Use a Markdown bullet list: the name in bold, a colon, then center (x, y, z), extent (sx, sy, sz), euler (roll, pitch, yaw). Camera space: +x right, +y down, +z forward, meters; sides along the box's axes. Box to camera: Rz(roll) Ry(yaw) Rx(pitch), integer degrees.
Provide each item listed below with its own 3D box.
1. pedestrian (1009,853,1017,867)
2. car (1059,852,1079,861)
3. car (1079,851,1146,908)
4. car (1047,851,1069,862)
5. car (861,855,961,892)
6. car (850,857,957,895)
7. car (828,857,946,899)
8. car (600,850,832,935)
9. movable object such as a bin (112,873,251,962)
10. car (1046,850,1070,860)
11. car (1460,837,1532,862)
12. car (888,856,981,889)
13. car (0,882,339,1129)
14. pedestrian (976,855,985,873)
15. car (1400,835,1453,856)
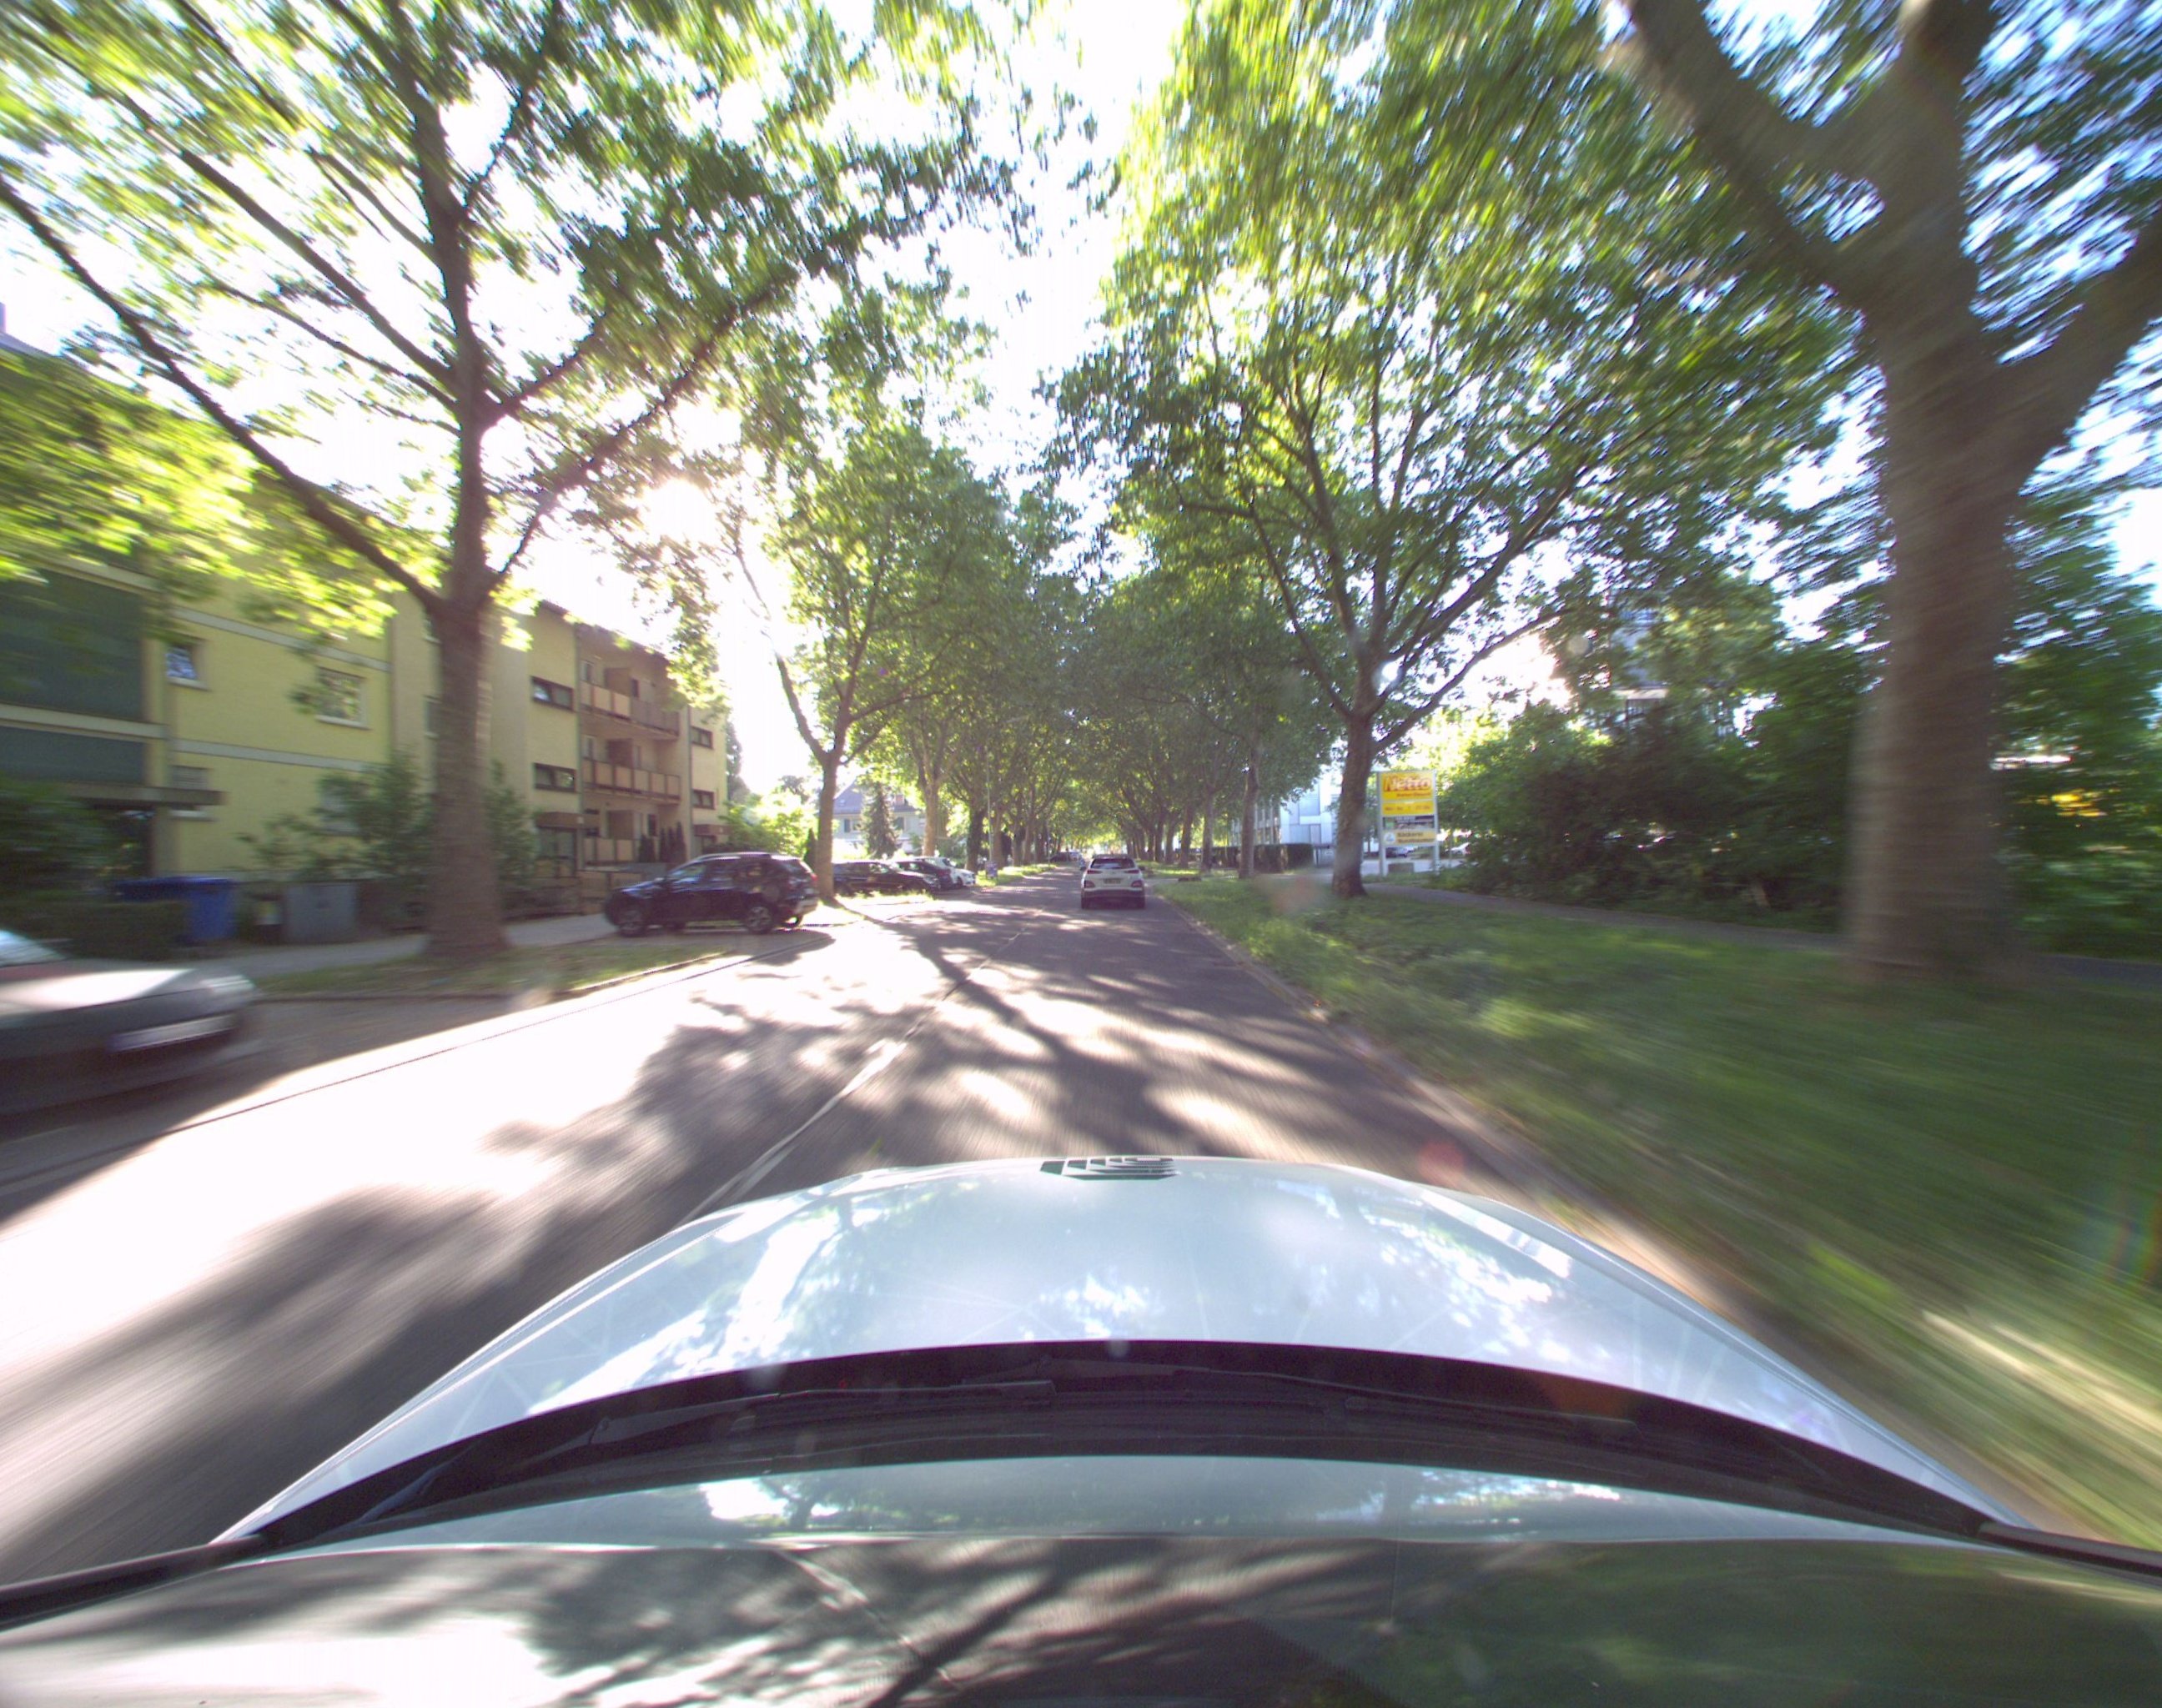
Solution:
- **pedestrian**: center (-8.208, 0.720, 98.623), extent (0.752, 1.707, 0.787), euler (0, -1, -23)
- **car**: center (-2.470, 0.541, 164.243), extent (3.978, 1.772, 1.998), euler (-1, 0, -4)
- **car**: center (0.914, 0.717, 24.418), extent (1.829, 1.556, 4.001), euler (-1, 0, 1)
- **car**: center (-4.106, 0.470, 145.344), extent (3.978, 1.772, 1.997), euler (0, -1, -4)
- **car**: center (-7.433, 0.821, 35.839), extent (3.974, 1.520, 1.809), euler (-1, 0, 0)
- **car**: center (-7.195, 0.884, 33.259), extent (3.978, 1.424, 1.807), euler (-1, 0, -3)
- **car**: center (-7.275, 0.888, 30.766), extent (3.974, 1.470, 1.780), euler (-1, 0, 0)
- **car**: center (-7.817, 0.798, 17.689), extent (4.229, 1.680, 1.671), euler (-1, 0, 1)
- **movable object such as a bin**: center (-14.585, 1.007, 13.237), extent (1.181, 1.350, 0.954), euler (-2, -1, 1)
- **car**: center (-4.008, 0.216, 141.727), extent (3.978, 1.772, 1.997), euler (0, -1, -4)
- **car**: center (28.237, -0.313, 55.532), extent (3.978, 1.567, 1.861), euler (-1, 0, -3)
- **car**: center (-6.897, 0.856, 38.548), extent (3.971, 1.470, 1.810), euler (-1, 0, 2)
- **car**: center (-7.969, 0.965, 5.504), extent (4.227, 1.353, 1.741), euler (-2, 0, -1)
- **pedestrian**: center (-9.562, 0.947, 77.305), extent (0.746, 1.707, 0.793), euler (0, -1, 1)
- **car**: center (31.479, -0.741, 74.203), extent (3.968, 1.772, 2.003), euler (-2, 0, 4)
